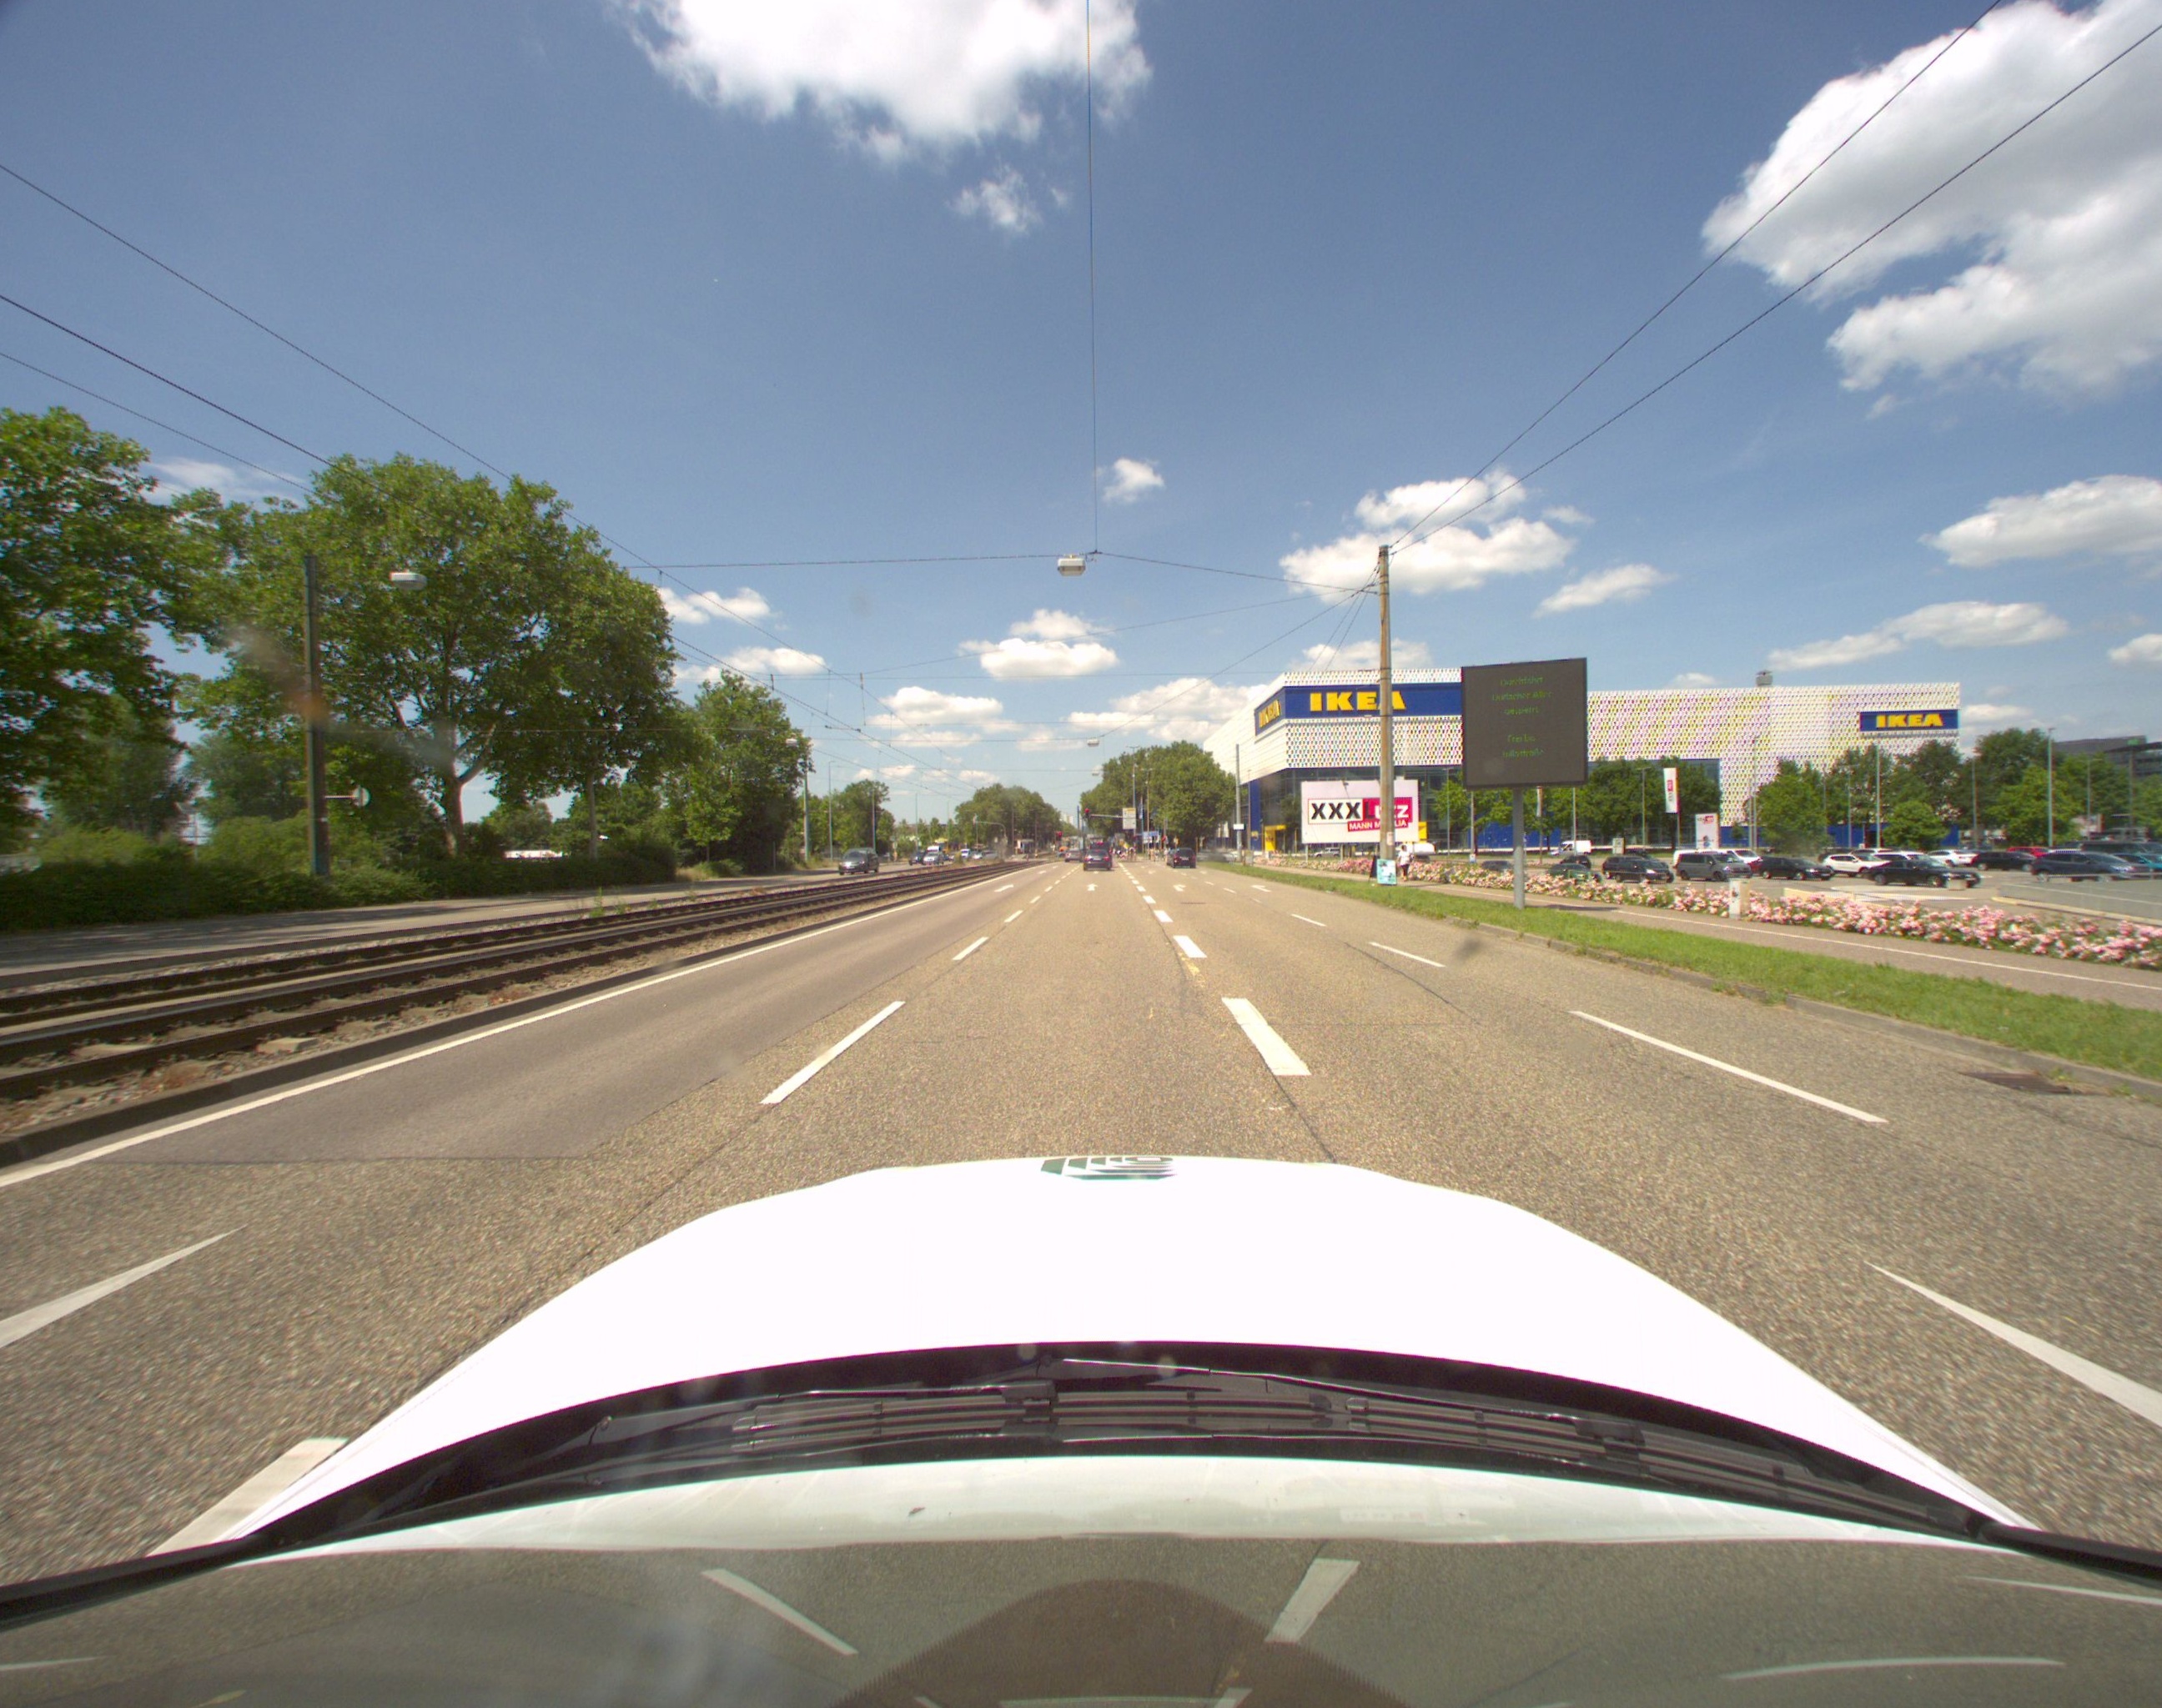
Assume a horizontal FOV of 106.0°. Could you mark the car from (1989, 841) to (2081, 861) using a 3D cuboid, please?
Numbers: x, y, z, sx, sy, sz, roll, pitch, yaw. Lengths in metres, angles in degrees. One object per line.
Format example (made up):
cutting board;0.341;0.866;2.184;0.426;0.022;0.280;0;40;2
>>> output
car;80.307;-0.283;68.687;1.986;1.610;5.003;0;0;1

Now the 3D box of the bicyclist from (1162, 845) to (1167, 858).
bicyclist;11.527;-0.364;112.417;0.525;1.764;0.831;0;0;15

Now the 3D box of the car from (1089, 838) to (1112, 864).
car;1.545;-0.300;64.766;1.830;1.949;4.002;0;2;1

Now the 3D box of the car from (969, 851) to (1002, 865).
car;-13.107;0.537;112.003;4.008;1.848;1.983;1;1;-27

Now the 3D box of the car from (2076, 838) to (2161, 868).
car;69.601;-0.087;53.564;1.987;1.865;5.181;0;0;0

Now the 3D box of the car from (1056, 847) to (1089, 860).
car;-1.262;-0.089;118.458;4.409;1.918;1.987;1;1;-19

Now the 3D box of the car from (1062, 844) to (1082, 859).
car;-0.908;-0.299;87.984;1.986;1.486;4.002;1;1;1

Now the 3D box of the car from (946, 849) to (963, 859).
car;-20.518;-0.036;132.268;1.815;1.670;4.463;1;1;1

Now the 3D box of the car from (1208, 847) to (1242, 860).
car;17.859;-0.079;100.753;4.415;1.486;1.976;0;1;-44

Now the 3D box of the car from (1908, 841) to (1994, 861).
car;72.933;-0.271;68.387;1.986;1.610;5.003;0;0;1

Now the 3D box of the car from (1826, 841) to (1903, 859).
car;70.352;-0.383;73.226;1.990;1.610;4.994;0;0;-4

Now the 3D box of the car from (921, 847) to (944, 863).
car;-16.312;0.076;89.457;1.680;1.583;4.058;-3;1;0

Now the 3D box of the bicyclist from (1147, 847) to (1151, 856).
bicyclist;8.534;-0.332;102.359;0.468;1.193;0.792;0;0;4

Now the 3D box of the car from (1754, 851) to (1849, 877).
car;47.563;0.606;53.937;1.986;1.610;5.003;0;0;1

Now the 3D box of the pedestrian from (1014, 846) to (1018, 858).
pedestrian;-11.000;-0.393;137.739;0.683;2.013;0.572;0;0;-3

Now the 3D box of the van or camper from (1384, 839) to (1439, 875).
van or camper;29.155;0.192;72.084;2.495;3.020;7.234;0;0;5

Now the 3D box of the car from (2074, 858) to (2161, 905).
car;56.140;1.436;43.091;1.986;2.327;4.335;1;1;1

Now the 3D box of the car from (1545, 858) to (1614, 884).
car;33.084;1.096;54.190;1.986;1.496;4.304;-3;0;1

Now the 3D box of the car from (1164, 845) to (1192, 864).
car;8.357;0.019;70.196;1.986;1.486;4.168;1;1;1

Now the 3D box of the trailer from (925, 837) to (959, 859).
trailer;-24.055;-1.017;141.817;2.757;3.518;15.882;0;0;1

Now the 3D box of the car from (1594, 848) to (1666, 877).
car;40.374;0.575;60.054;1.986;2.013;5.003;-2;0;2

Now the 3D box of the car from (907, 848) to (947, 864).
car;-18.755;0.217;99.399;1.975;1.830;5.000;2;1;30

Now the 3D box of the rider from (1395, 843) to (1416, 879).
rider;13.465;0.283;33.811;0.667;1.457;0.618;0;0;1

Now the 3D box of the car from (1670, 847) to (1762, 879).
car;42.458;0.561;54.685;1.986;2.013;5.537;0;0;2

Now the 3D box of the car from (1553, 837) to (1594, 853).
car;72.772;-1.344;120.383;4.734;2.309;2.004;0;0;7

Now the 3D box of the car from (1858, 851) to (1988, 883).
car;45.694;0.685;44.389;1.986;1.610;5.003;0;0;1

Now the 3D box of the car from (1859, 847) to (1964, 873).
car;55.167;0.335;54.250;1.986;1.650;5.003;0;0;1

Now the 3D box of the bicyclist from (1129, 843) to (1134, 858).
bicyclist;6.262;-0.447;100.426;0.526;1.789;1.088;0;0;2

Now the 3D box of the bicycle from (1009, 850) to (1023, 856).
bicycle;-9.928;-0.166;124.367;2.055;0.925;0.751;0;0;-9

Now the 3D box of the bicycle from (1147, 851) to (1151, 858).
bicycle;8.545;0.020;102.377;0.547;0.877;1.699;0;0;4

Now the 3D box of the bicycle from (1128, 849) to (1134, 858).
bicycle;6.215;-0.059;101.027;0.685;0.993;2.753;0;0;2

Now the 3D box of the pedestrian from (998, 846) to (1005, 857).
pedestrian;-12.466;-0.421;127.559;0.816;1.720;0.779;0;0;23

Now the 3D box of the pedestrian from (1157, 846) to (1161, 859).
pedestrian;9.570;-0.178;100.343;0.443;1.635;0.430;0;0;4

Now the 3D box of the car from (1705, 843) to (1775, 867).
car;55.811;0.059;69.082;1.986;2.007;5.003;0;0;1

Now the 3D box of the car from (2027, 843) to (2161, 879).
car;53.468;0.333;43.052;1.986;1.781;4.335;1;0;1

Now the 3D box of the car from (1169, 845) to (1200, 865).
car;7.986;0.064;63.339;1.986;1.486;4.002;1;1;1

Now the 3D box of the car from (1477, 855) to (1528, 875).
car;35.975;0.938;69.590;1.986;1.537;4.771;-2;0;1

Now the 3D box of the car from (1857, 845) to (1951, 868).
car;60.298;0.150;59.796;1.986;1.610;5.003;0;0;1

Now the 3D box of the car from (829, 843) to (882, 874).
car;-14.736;0.226;53.551;1.987;1.830;4.969;-3;1;0

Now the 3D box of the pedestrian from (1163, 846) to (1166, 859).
pedestrian;10.467;-0.232;102.401;0.337;1.635;0.377;0;0;4

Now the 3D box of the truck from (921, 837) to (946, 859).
truck;-24.223;-0.964;134.106;2.757;3.569;6.441;0;0;1

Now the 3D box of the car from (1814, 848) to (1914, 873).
car;52.392;0.419;54.666;1.986;1.610;5.003;0;0;1

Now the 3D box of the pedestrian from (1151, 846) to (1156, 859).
pedestrian;8.907;-0.174;100.293;0.551;1.635;0.433;0;0;4

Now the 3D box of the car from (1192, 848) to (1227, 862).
car;14.246;0.103;90.295;1.974;1.486;4.171;2;1;39

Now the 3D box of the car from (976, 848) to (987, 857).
car;-22.236;-0.360;182.260;1.811;1.883;4.001;0;0;1

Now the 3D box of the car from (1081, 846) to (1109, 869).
car;0.965;0.191;54.978;1.786;1.455;4.002;-2;1;1

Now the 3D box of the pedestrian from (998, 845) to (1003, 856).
pedestrian;-12.225;-0.590;123.823;0.683;1.637;0.572;0;0;-2

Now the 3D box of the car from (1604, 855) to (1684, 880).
car;37.667;0.871;54.658;1.986;1.550;5.003;0;0;1

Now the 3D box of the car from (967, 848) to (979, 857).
car;-22.563;-0.297;170.353;1.811;1.883;4.001;0;0;1

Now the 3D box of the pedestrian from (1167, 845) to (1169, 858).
pedestrian;10.726;-0.285;100.303;0.319;1.635;0.377;0;0;4

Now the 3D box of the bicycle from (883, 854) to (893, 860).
bicycle;-29.442;0.467;124.153;1.487;0.987;0.485;0;0;-3

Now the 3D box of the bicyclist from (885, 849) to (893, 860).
bicyclist;-29.263;0.083;124.193;1.116;1.774;0.340;0;0;-4

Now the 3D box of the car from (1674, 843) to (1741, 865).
car;53.216;-0.032;69.298;1.986;1.852;5.003;0;0;1
